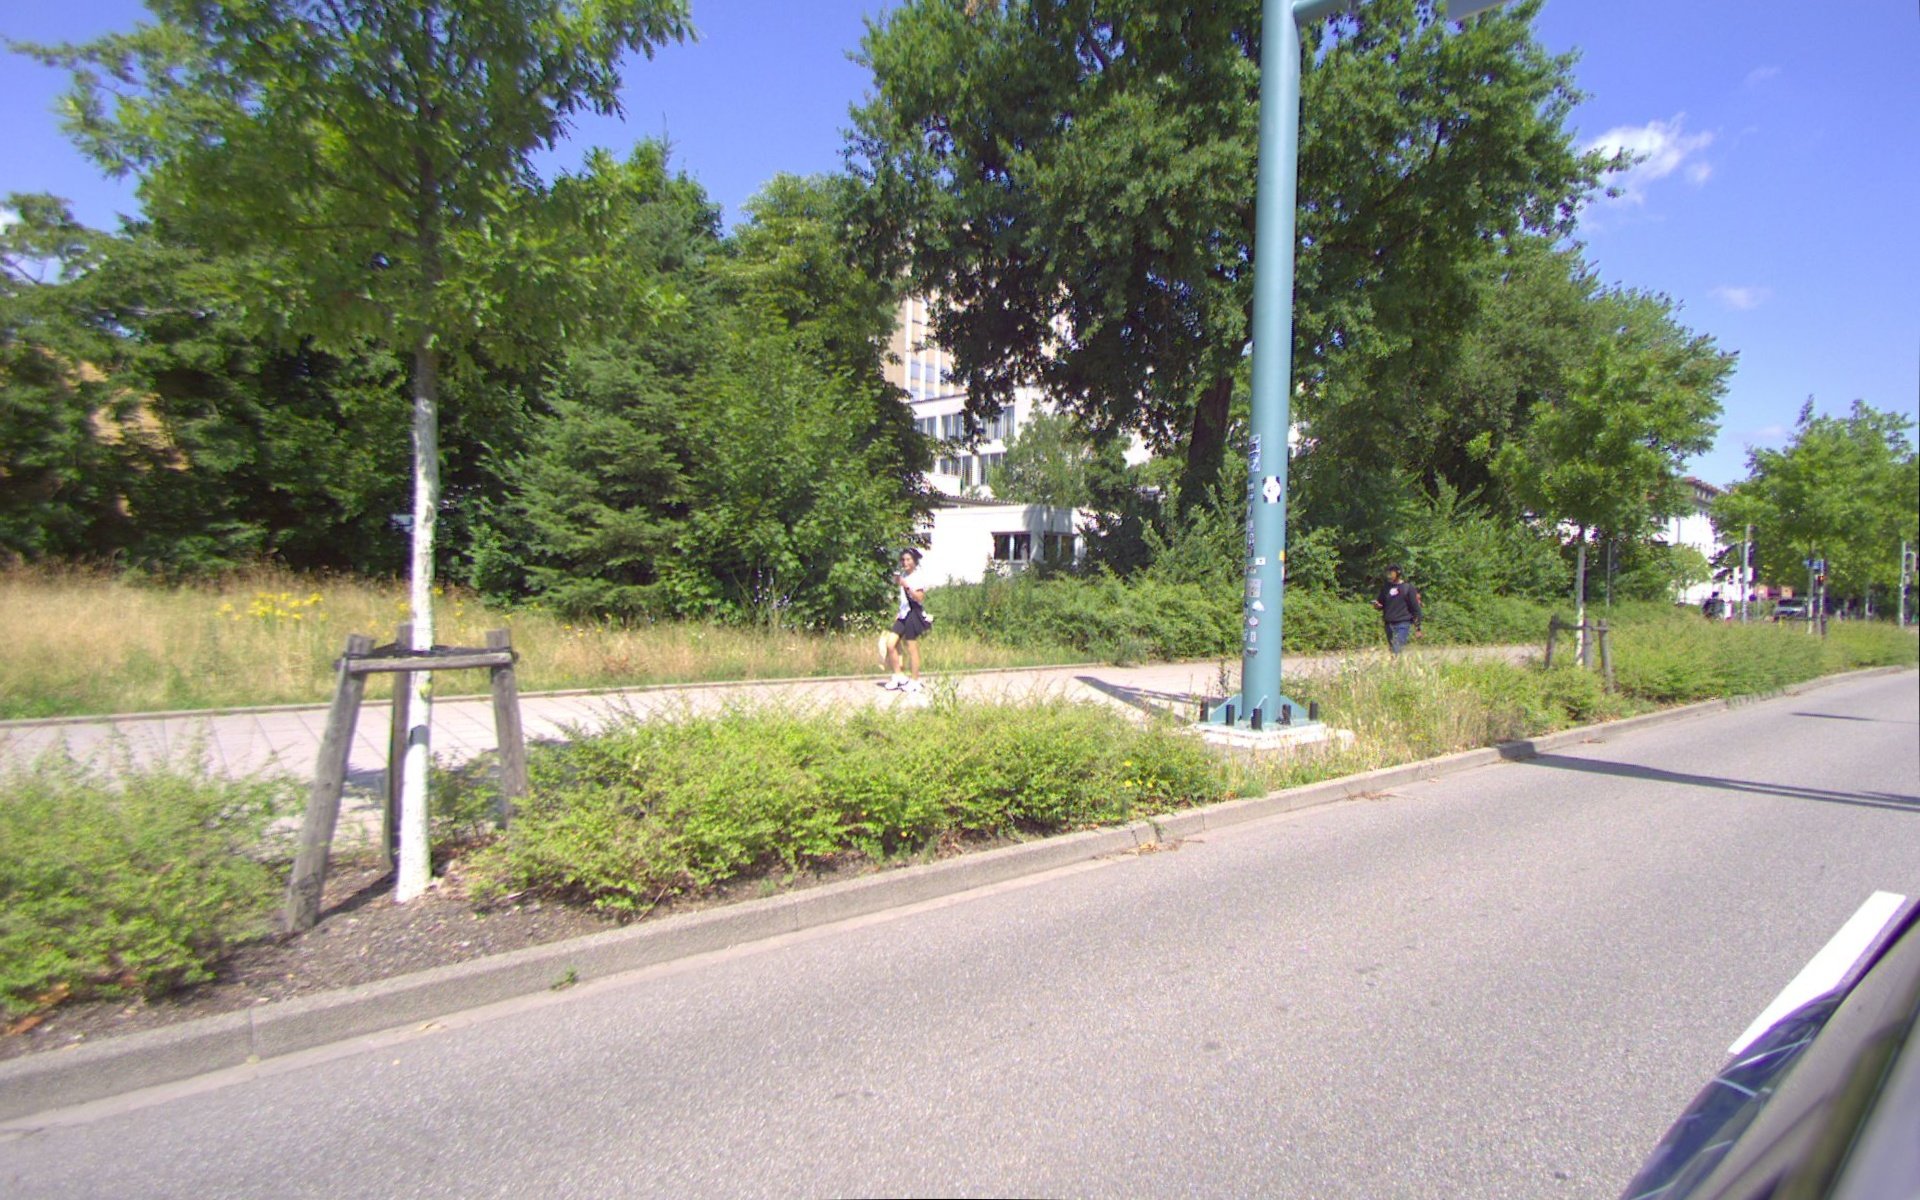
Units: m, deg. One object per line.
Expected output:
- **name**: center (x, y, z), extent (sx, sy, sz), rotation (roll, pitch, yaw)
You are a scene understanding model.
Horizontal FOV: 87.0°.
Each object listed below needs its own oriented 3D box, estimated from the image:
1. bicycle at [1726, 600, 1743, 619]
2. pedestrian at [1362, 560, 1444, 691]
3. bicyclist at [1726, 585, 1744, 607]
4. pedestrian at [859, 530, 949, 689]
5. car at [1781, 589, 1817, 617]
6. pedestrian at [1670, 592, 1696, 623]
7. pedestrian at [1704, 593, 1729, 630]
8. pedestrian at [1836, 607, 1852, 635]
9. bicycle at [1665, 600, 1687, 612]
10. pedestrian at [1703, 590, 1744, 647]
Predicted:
- **bicycle**: center (53.537, 0.666, 69.940), extent (0.880, 1.267, 2.137), rotation (1, 1, 37)
- **pedestrian**: center (6.104, 0.327, 13.947), extent (0.822, 1.743, 0.718), rotation (1, 1, -39)
- **bicyclist**: center (53.532, -0.260, 69.909), extent (0.966, 1.462, 1.062), rotation (1, 1, 37)
- **pedestrian**: center (-0.648, 0.094, 11.639), extent (0.733, 1.743, 0.724), rotation (1, 1, -39)
- **car**: center (64.632, 0.231, 77.941), extent (1.992, 2.080, 4.166), rotation (2, 1, 41)
- **pedestrian**: center (46.723, 0.468, 65.442), extent (0.952, 1.950, 1.033), rotation (1, 1, -29)
- **pedestrian**: center (39.600, 0.574, 52.986), extent (0.956, 1.896, 0.876), rotation (1, 1, -45)
- **pedestrian**: center (48.344, 1.138, 55.341), extent (0.586, 1.523, 0.412), rotation (1, 0, 31)
- **bicycle**: center (59.303, 0.489, 83.834), extent (1.424, 0.963, 0.346), rotation (2, 1, 44)
- **pedestrian**: center (23.934, 0.577, 31.737), extent (0.913, 1.743, 0.815), rotation (1, 1, -39)
